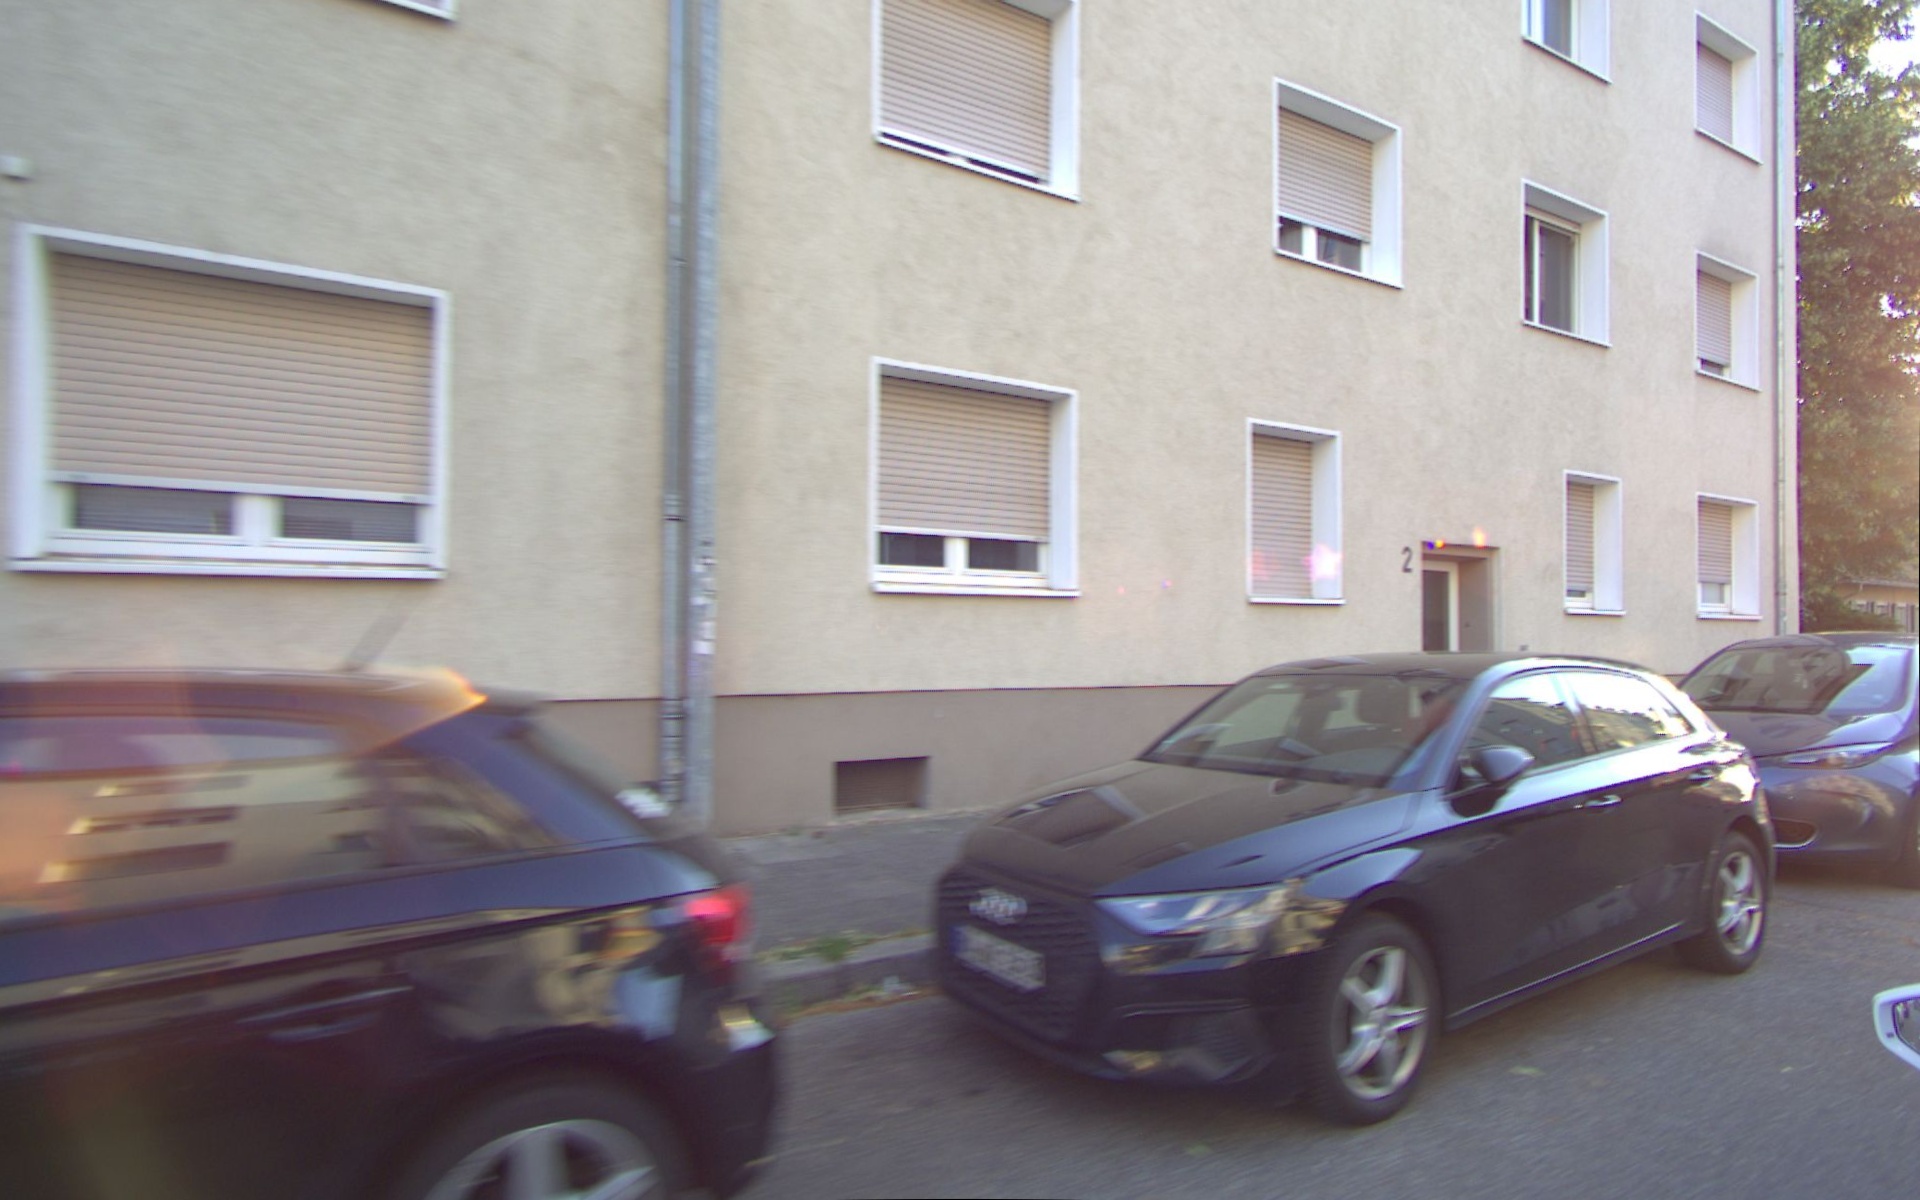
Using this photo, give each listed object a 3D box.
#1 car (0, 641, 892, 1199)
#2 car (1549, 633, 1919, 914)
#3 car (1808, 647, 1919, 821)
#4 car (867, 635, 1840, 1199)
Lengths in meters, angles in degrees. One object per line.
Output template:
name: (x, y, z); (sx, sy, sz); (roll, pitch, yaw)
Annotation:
car: (-2.531, 0.833, 2.022); (4.381, 1.463, 1.984); (1, -2, -31)
car: (6.355, 1.049, 7.425); (4.023, 1.553, 1.781); (1, -3, -32)
car: (10.482, 1.191, 9.722); (4.851, 1.495, 1.899); (1, -4, -30)
car: (1.973, 0.911, 4.630); (4.383, 1.463, 1.983); (1, -2, -32)
